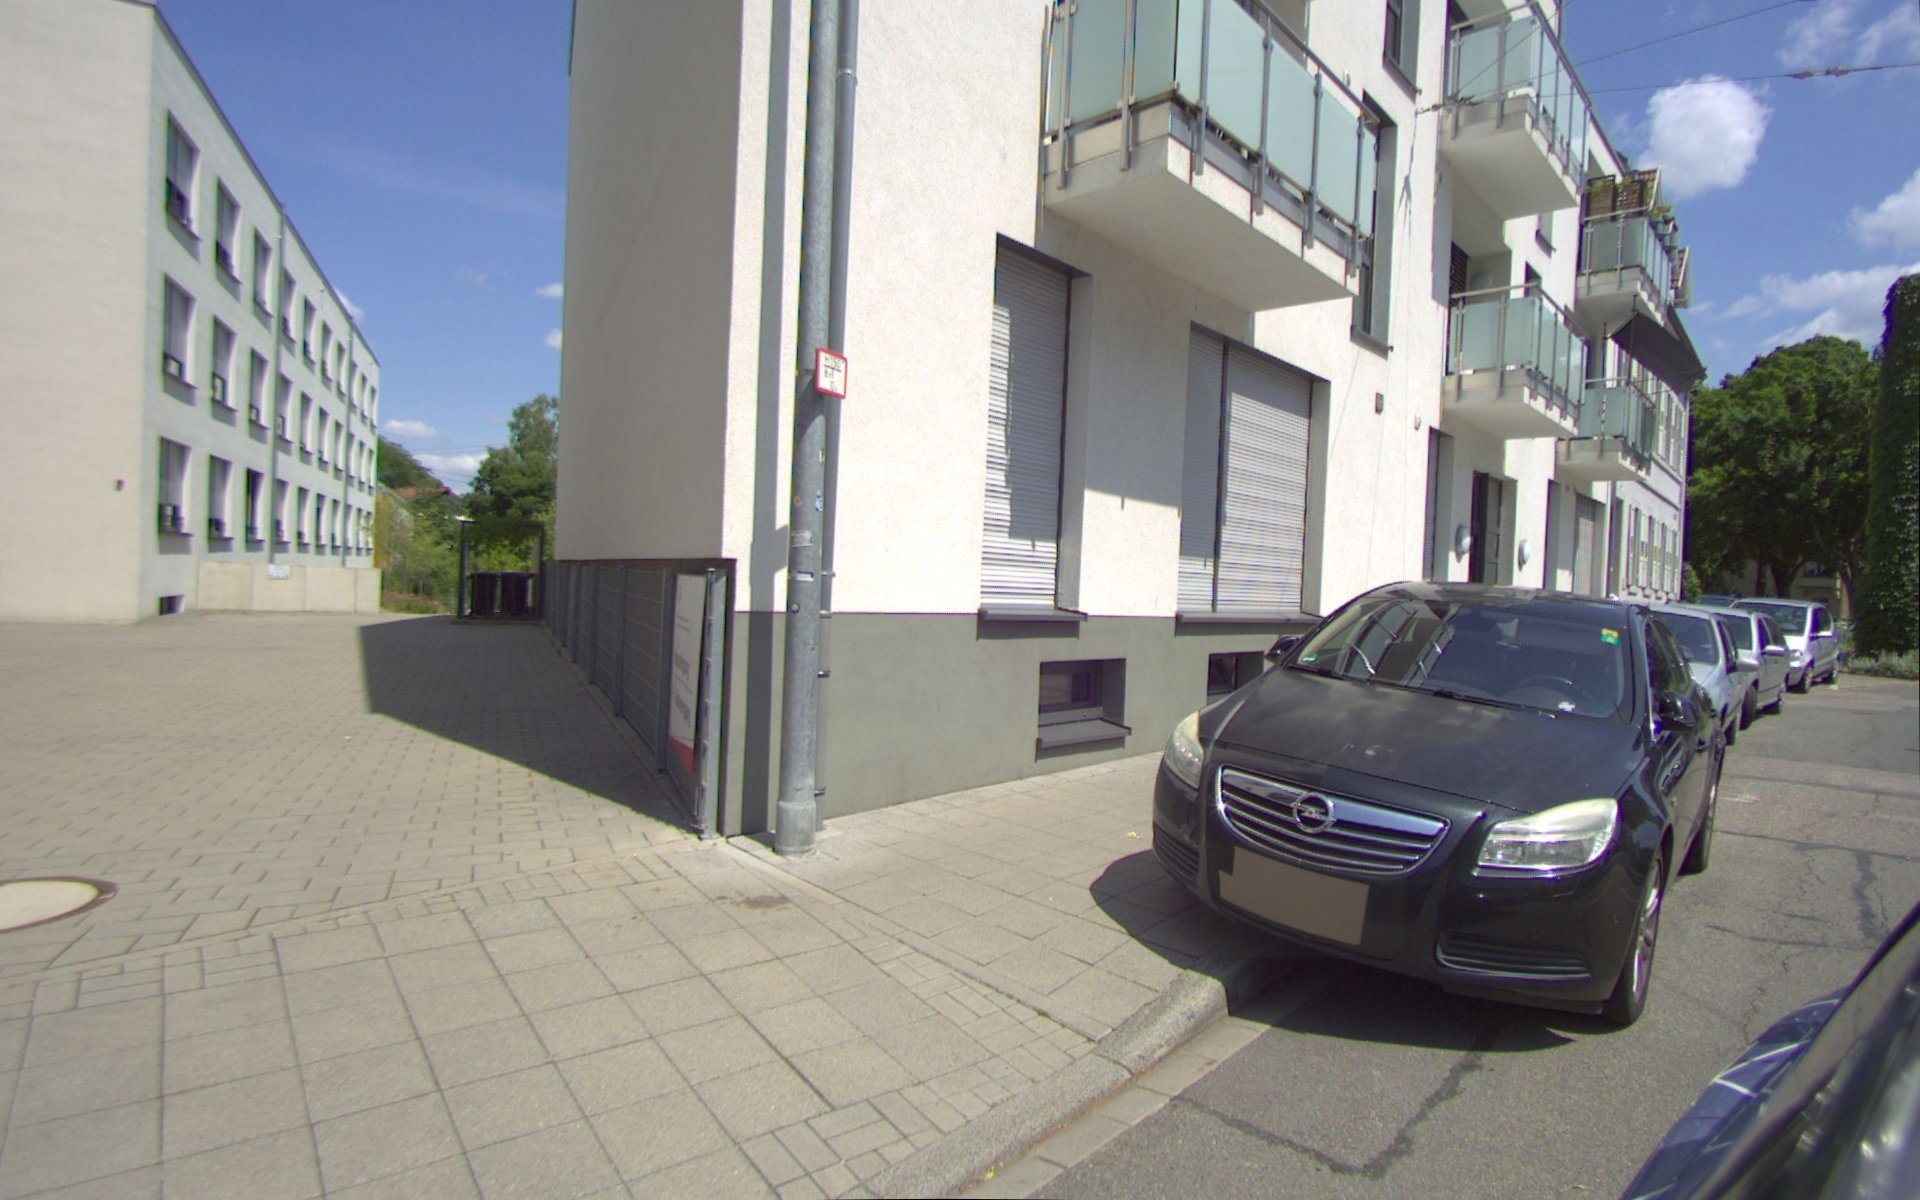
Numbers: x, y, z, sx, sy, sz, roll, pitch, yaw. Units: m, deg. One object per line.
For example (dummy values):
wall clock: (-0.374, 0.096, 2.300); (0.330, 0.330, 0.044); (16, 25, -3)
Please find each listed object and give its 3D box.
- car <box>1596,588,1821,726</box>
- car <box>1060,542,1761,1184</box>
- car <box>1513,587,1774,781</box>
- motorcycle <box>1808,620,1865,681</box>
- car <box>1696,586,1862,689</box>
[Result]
car: (10.374, 0.681, 13.917); (3.975, 1.449, 1.730); (1, 6, -44)
car: (2.548, 0.642, 4.881); (1.799, 1.527, 4.481); (8, 5, 40)
car: (7.049, 0.692, 10.287); (1.593, 1.449, 3.650); (8, 6, 42)
motorcycle: (21.440, 1.197, 24.747); (2.299, 1.369, 0.801); (1, 2, -44)
car: (15.630, 0.643, 19.260); (3.734, 1.630, 1.731); (0, 5, -41)
